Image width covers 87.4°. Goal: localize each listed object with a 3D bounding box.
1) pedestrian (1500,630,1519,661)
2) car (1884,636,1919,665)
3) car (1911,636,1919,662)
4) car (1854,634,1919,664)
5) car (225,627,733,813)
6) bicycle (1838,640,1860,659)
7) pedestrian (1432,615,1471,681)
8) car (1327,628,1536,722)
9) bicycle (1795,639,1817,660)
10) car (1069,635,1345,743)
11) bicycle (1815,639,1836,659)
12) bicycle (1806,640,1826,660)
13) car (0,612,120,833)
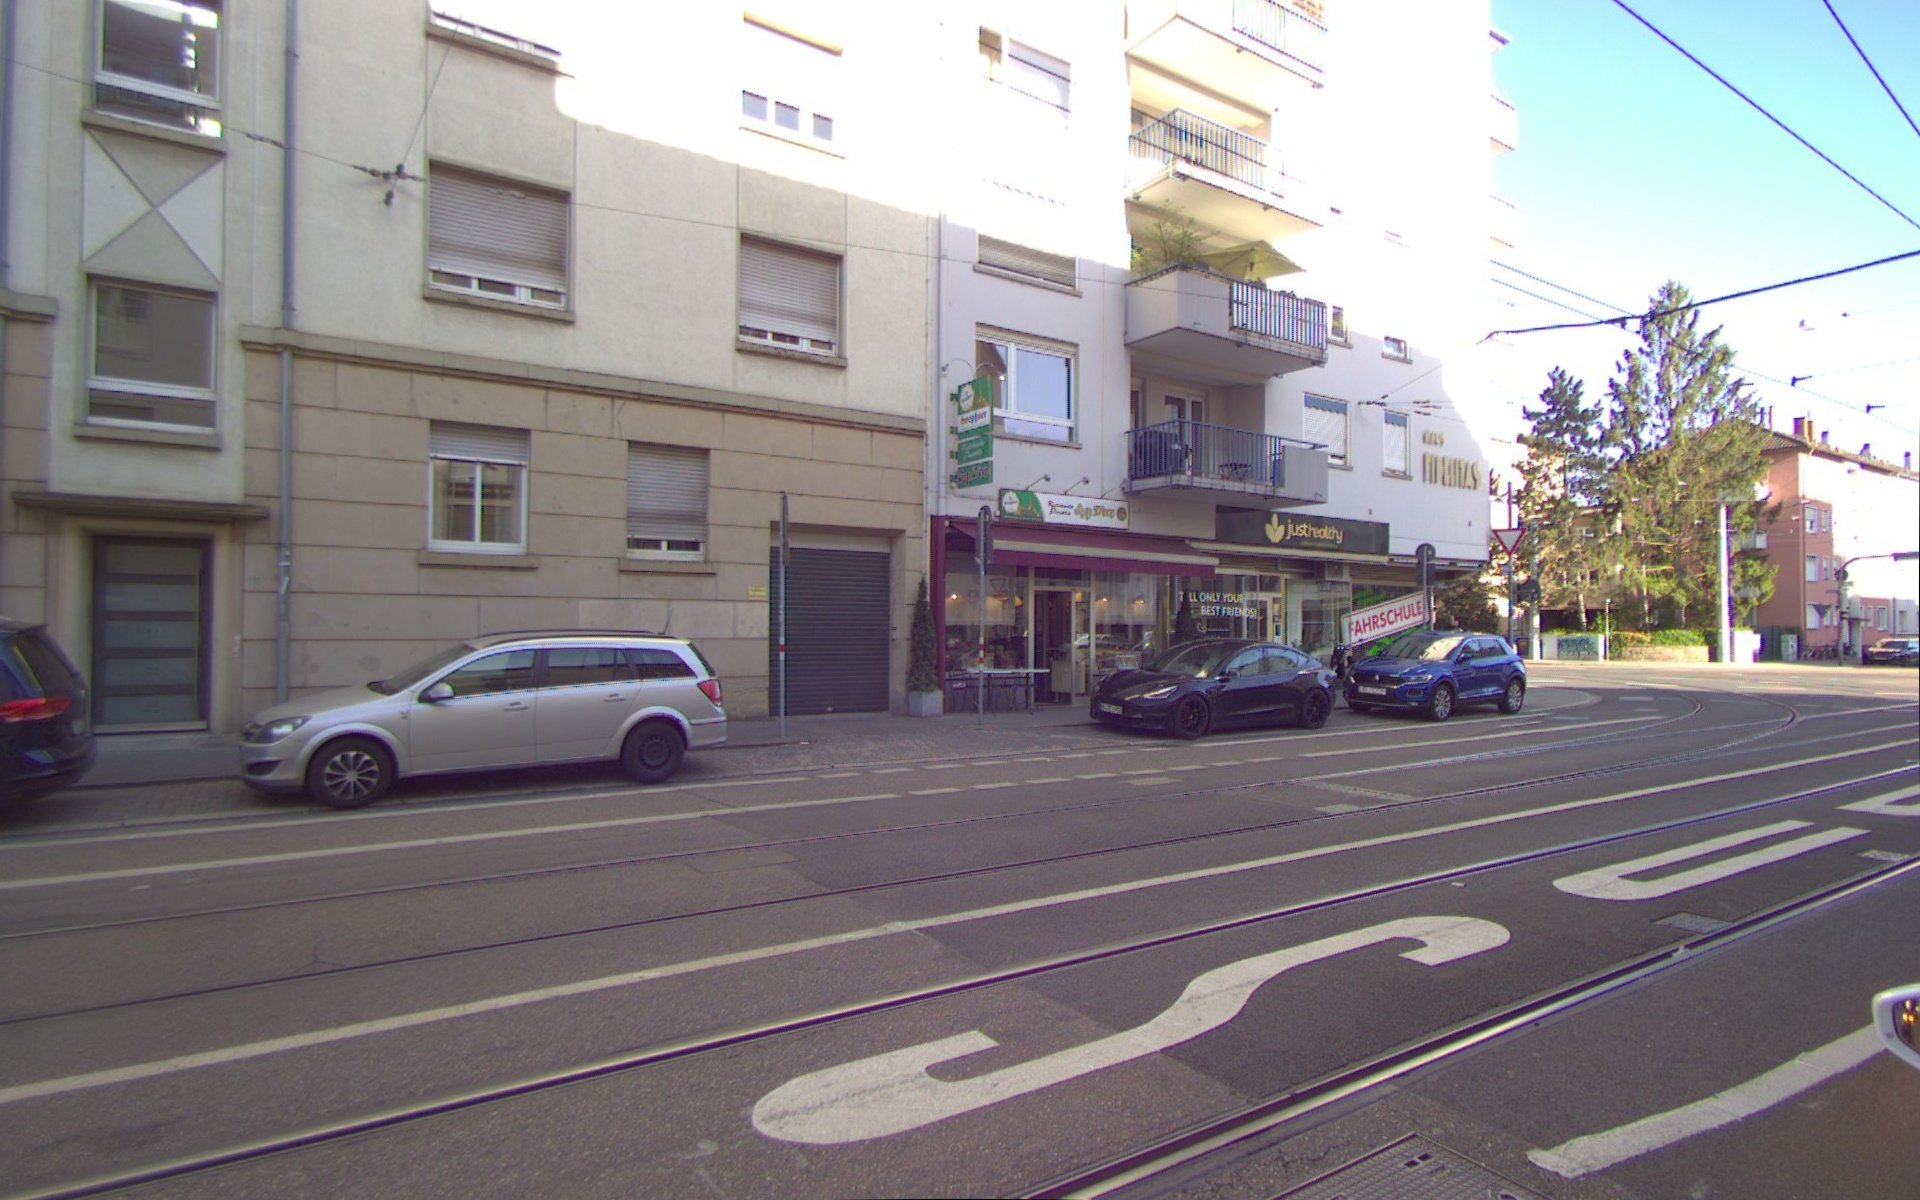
[{"bbox_3d":[31.520,2.598,57.662,0.800,1.725,0.676,-1,-2,44],"label":"pedestrian"},{"bbox_3d":[54.276,2.841,57.018,4.006,1.539,1.938,1,-2,-36],"label":"car"},{"bbox_3d":[58.130,2.898,59.457,3.961,1.539,1.938,1,-2,-36],"label":"car"},{"bbox_3d":[49.728,2.617,53.788,3.961,1.539,1.938,1,-2,-36],"label":"car"},{"bbox_3d":[-4.702,1.050,10.215,4.343,1.497,1.785,1,-1,-34],"label":"car"},{"bbox_3d":[53.160,2.939,60.031,1.892,1.097,0.605,1,-2,-37],"label":"bicycle"},{"bbox_3d":[14.014,1.353,28.674,0.707,1.859,0.771,0,-1,-3],"label":"pedestrian"},{"bbox_3d":[8.996,1.346,19.087,4.072,1.525,1.714,1,1,-34],"label":"car"},{"bbox_3d":[46.885,2.726,55.637,1.895,1.097,0.634,2,-2,-41],"label":"bicycle"},{"bbox_3d":[4.016,1.316,16.044,4.442,1.422,1.714,1,1,-34],"label":"car"},{"bbox_3d":[50.743,2.862,58.886,1.892,1.097,0.533,1,-2,-37],"label":"bicycle"},{"bbox_3d":[47.181,2.736,55.345,1.895,1.097,0.532,2,-2,-41],"label":"bicycle"},{"bbox_3d":[-8.990,0.880,7.193,4.343,1.620,1.785,1,-1,-34],"label":"car"}]
